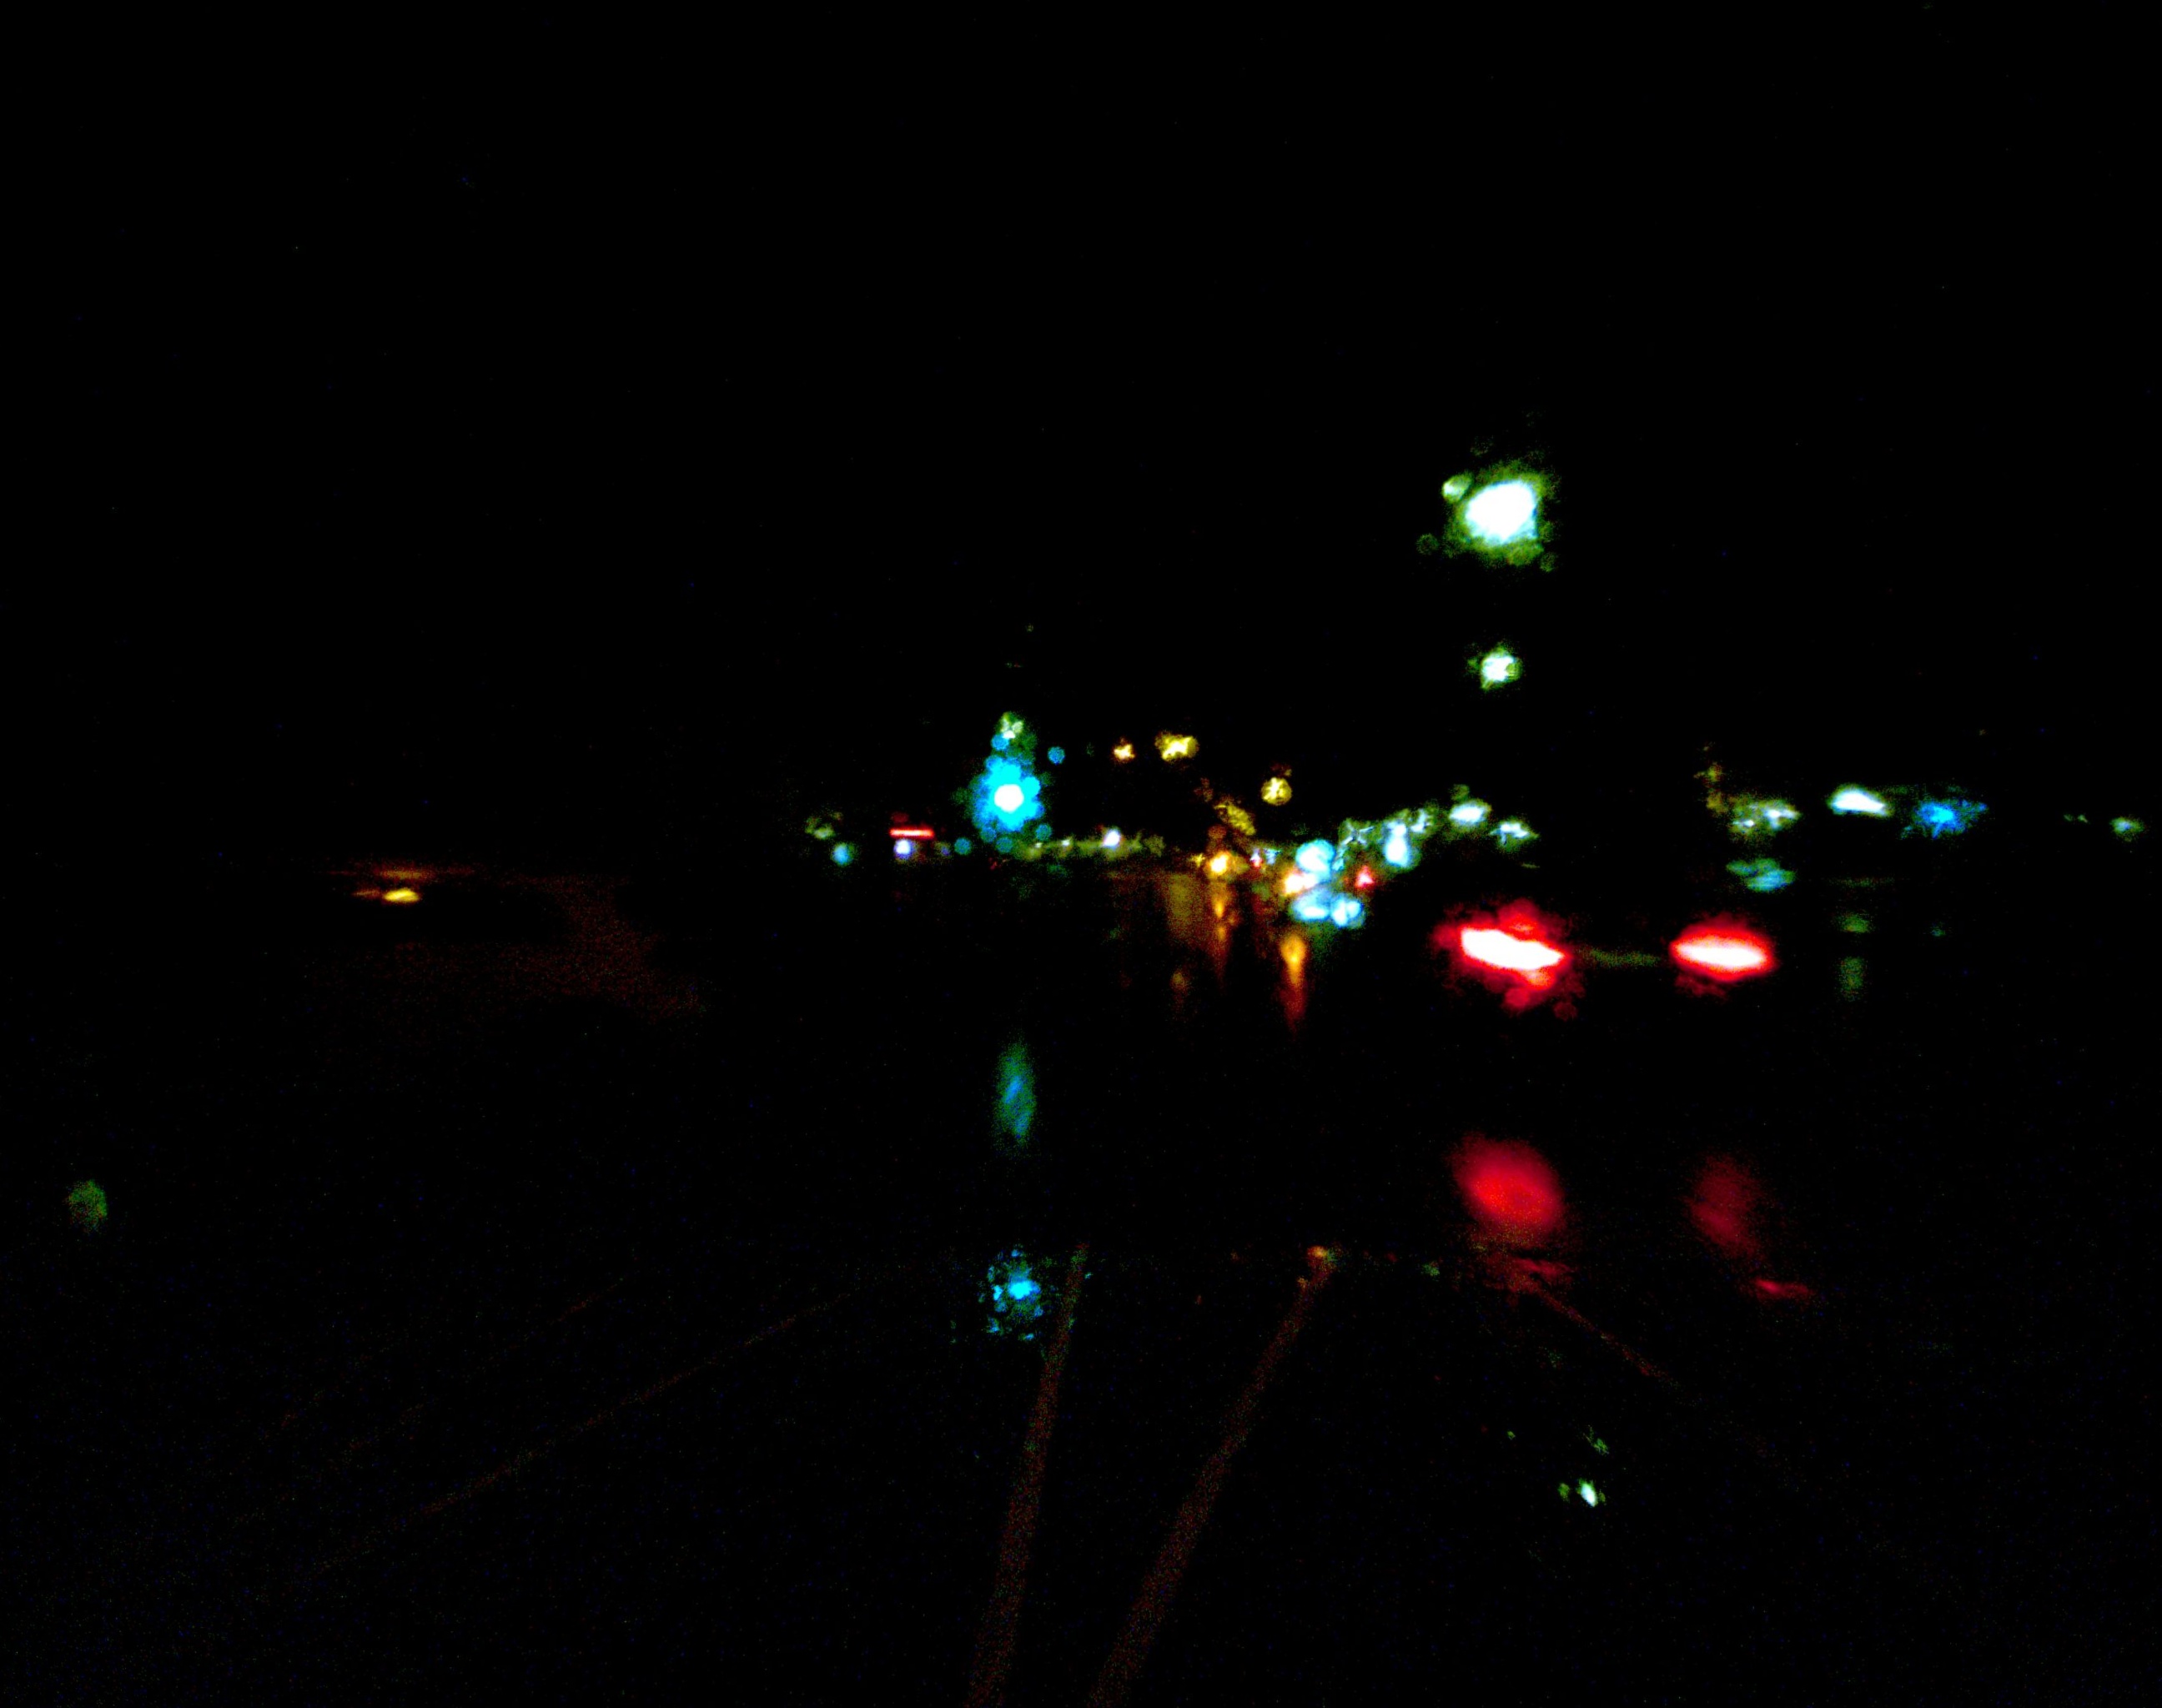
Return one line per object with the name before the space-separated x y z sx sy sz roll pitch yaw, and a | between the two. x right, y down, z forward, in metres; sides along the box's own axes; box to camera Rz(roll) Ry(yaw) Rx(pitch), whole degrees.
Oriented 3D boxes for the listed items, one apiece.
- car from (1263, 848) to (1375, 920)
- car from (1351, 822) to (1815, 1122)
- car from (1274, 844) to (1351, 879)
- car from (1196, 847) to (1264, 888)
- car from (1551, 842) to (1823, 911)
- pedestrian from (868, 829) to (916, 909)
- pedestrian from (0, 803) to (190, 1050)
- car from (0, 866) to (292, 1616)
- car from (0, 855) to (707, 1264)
car | 5.350 0.611 17.612 1.826 1.417 4.208 -2 1 8
car | 3.723 0.670 6.686 1.809 1.759 4.275 0 1 9
car | 10.070 0.279 33.531 1.998 1.417 5.068 0 1 2
car | 5.541 0.460 28.741 1.624 1.417 4.205 0 1 -2
car | 14.358 0.445 18.326 2.003 1.417 4.718 -1 1 -32
pedestrian | -4.606 0.376 18.554 0.805 1.895 0.885 1 -1 9
pedestrian | -7.050 0.489 5.449 0.574 1.654 0.601 1 -1 9
car | -4.070 0.830 1.319 3.402 1.583 1.591 1 1 -27
car | -4.048 0.810 4.017 3.606 1.552 1.707 -1 1 -29
